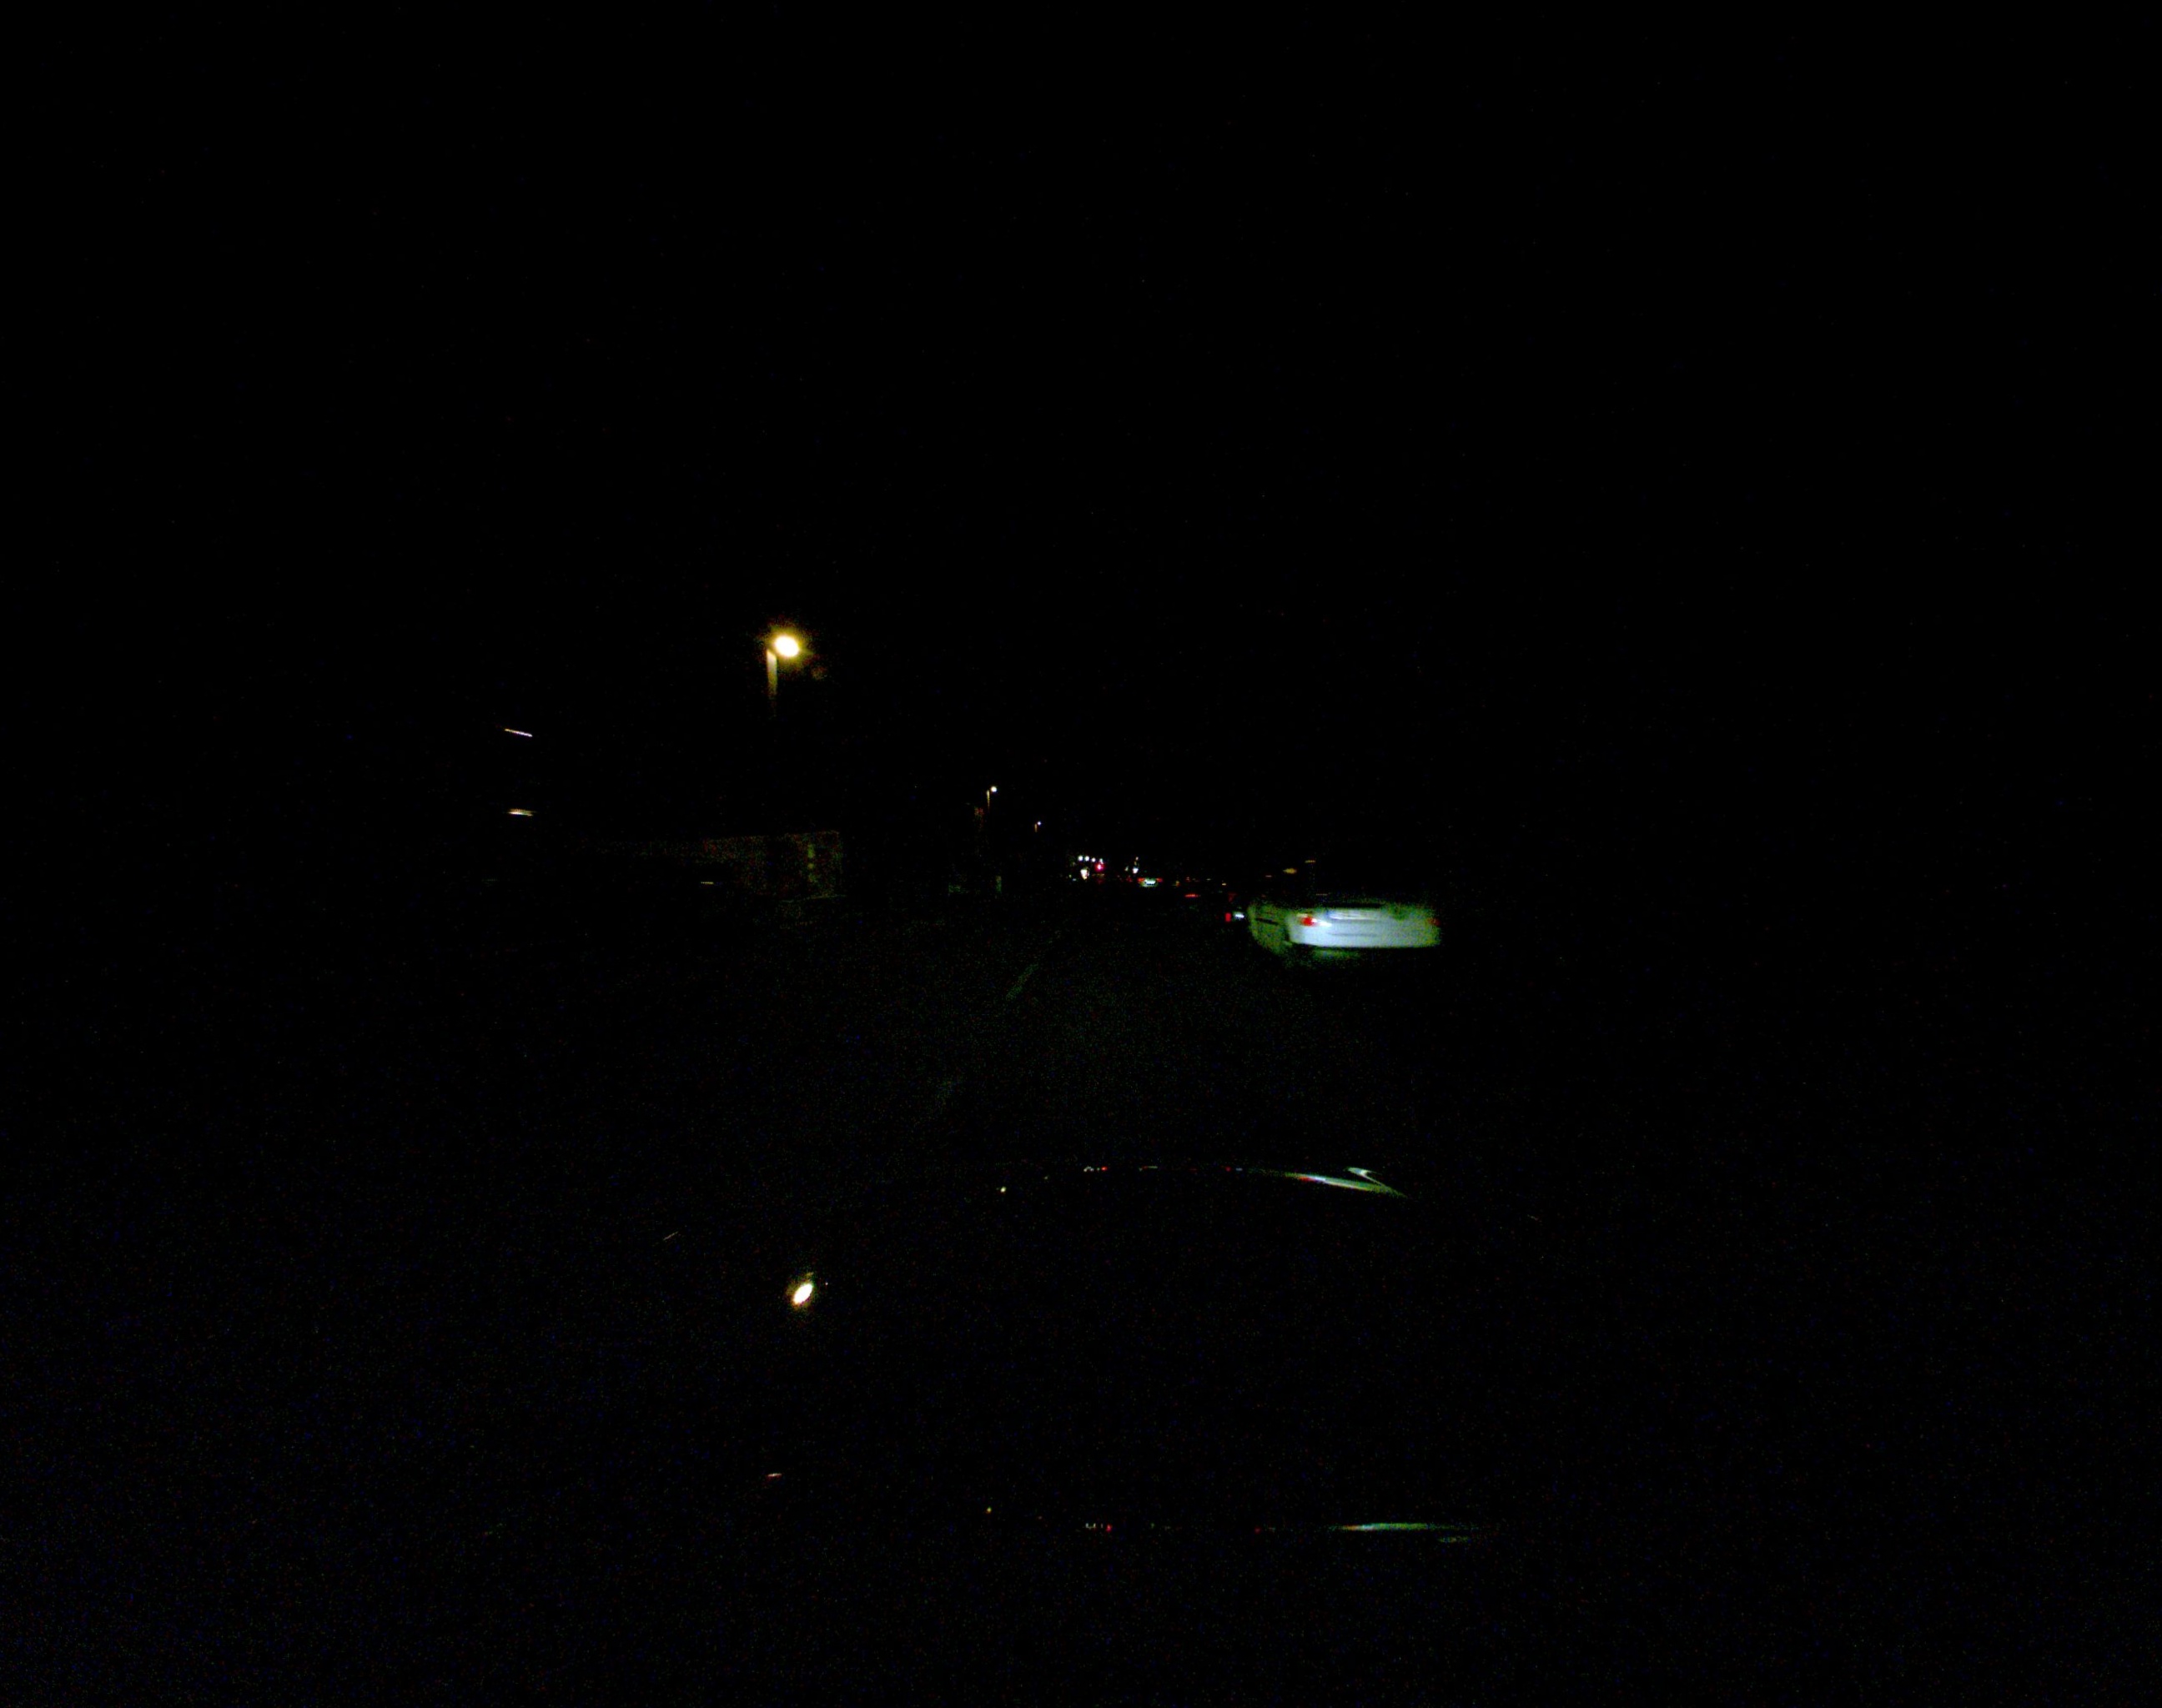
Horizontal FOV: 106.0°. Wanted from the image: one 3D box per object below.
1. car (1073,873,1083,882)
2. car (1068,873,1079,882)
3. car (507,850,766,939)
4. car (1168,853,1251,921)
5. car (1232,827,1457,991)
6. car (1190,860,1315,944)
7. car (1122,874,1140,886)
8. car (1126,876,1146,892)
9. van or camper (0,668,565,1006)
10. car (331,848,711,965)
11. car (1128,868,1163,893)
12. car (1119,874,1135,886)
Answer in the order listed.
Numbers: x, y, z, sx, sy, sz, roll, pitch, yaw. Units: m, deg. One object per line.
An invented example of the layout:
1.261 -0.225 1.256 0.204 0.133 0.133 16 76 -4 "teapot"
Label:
-0.558 4.587 158.907 1.747 1.540 3.730 -1 -2 0 "car"
-1.359 4.092 141.799 1.748 1.540 3.727 -1 -2 -2 "car"
-8.224 0.708 15.340 3.797 1.555 1.927 0 0 1 "car"
3.393 0.877 22.312 1.824 1.664 4.622 0 -1 3 "car"
3.293 0.602 11.195 1.712 1.761 4.760 1 0 2 "car"
3.350 0.884 16.685 1.737 1.471 4.257 1 -1 1 "car"
5.831 3.012 94.801 1.859 1.403 4.006 1 -1 5 "car"
5.039 2.706 75.150 1.624 1.439 3.863 0 -2 0 "car"
-9.003 -0.140 8.710 5.396 3.111 2.126 1 0 -9 "van or camper"
-8.378 0.764 12.513 4.399 1.613 2.066 -1 -2 2 "car"
4.054 1.662 51.872 1.758 1.476 4.272 1 -1 -2 "car"
5.645 3.142 99.651 1.677 1.449 3.998 1 -1 -1 "car"
